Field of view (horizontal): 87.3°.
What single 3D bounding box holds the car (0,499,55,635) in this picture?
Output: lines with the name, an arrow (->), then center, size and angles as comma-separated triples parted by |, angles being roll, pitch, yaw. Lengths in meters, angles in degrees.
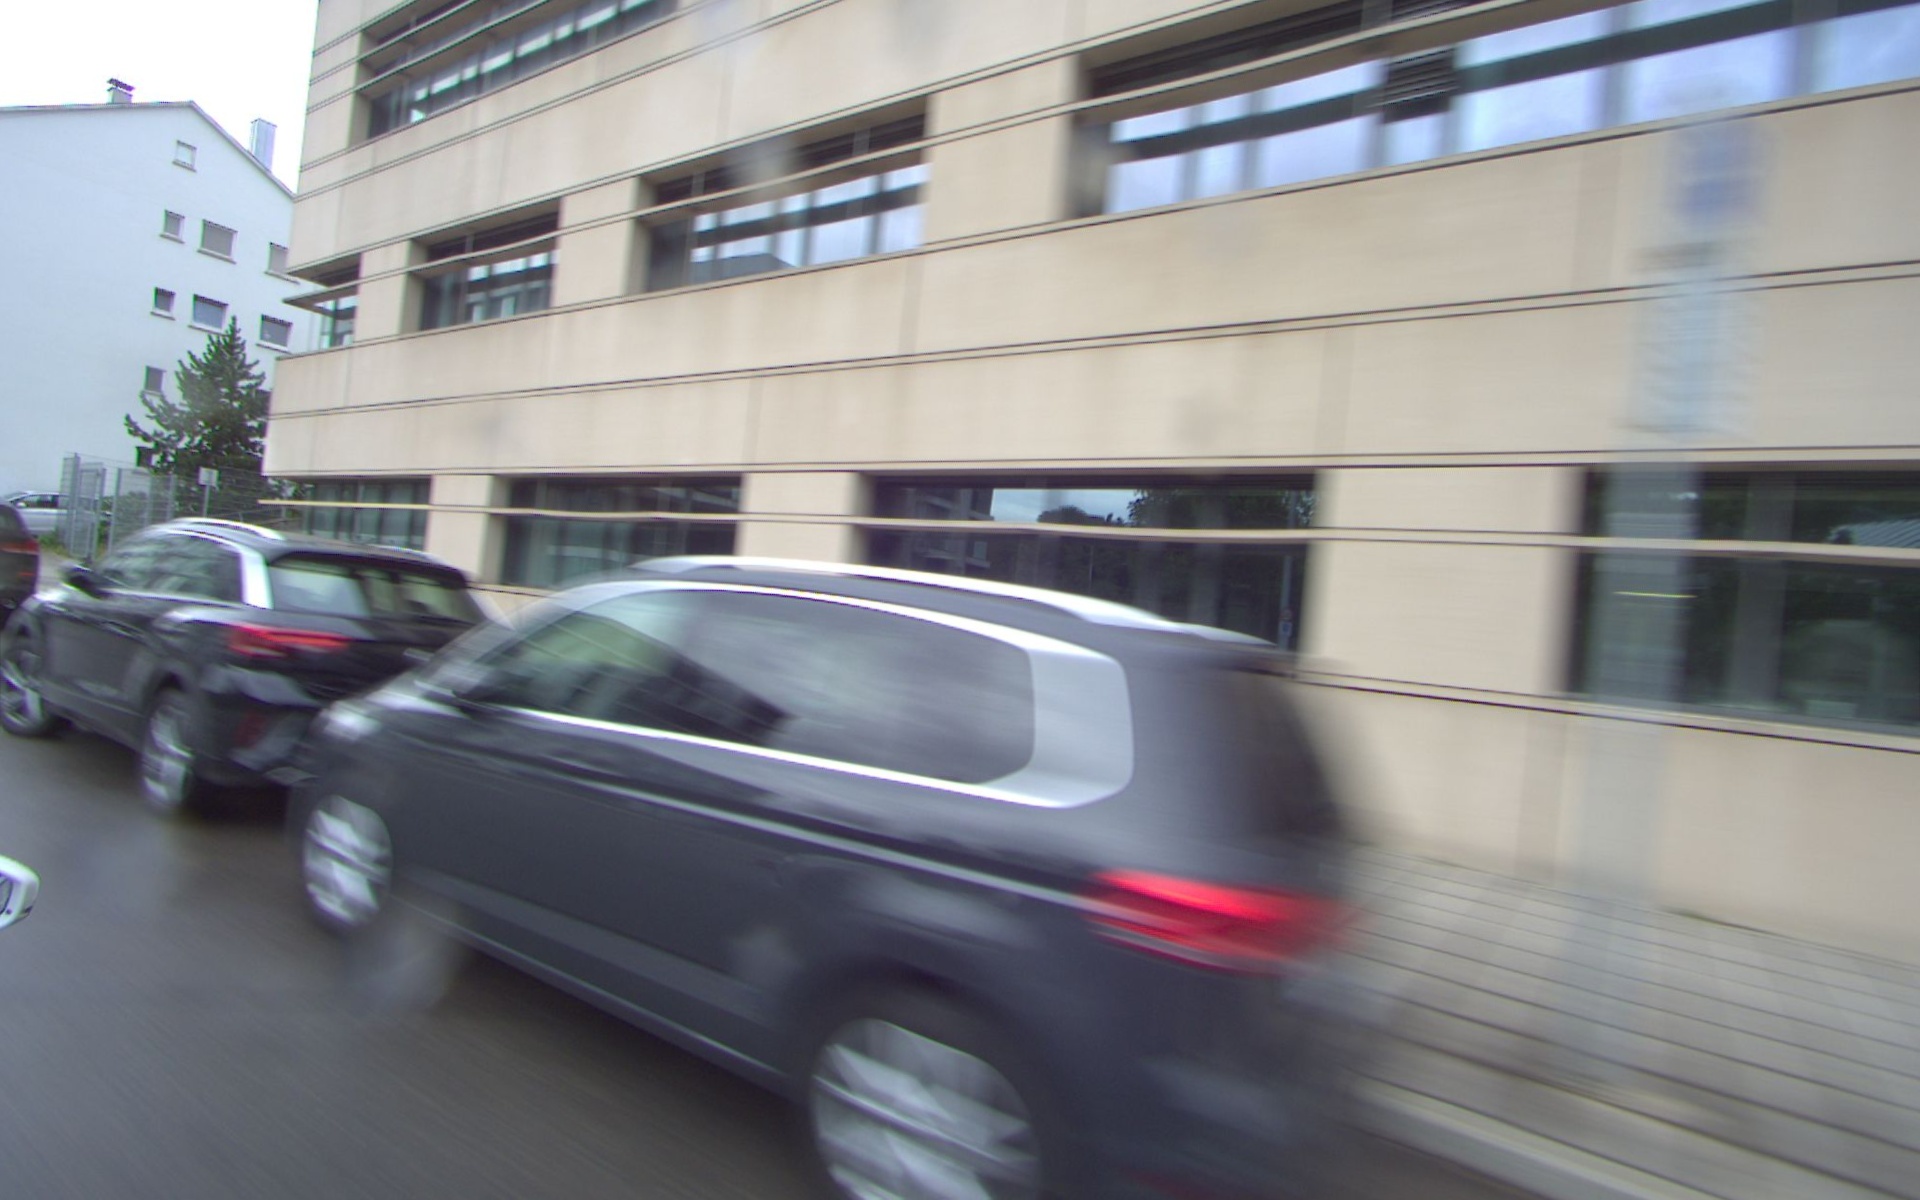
car -> -13.228, -0.658, 12.546 | 4.250, 1.550, 1.746 | 7, -3, 34

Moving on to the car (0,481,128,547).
car -> -30.018, -2.842, 32.506 | 1.874, 1.734, 4.438 | 7, 1, 34

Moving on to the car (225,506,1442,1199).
car -> -0.747, 0.709, 3.822 | 4.323, 1.622, 1.774 | 7, -2, 34

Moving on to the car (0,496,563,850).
car -> -4.609, 0.335, 6.471 | 3.993, 1.528, 1.729 | 6, -4, 34
